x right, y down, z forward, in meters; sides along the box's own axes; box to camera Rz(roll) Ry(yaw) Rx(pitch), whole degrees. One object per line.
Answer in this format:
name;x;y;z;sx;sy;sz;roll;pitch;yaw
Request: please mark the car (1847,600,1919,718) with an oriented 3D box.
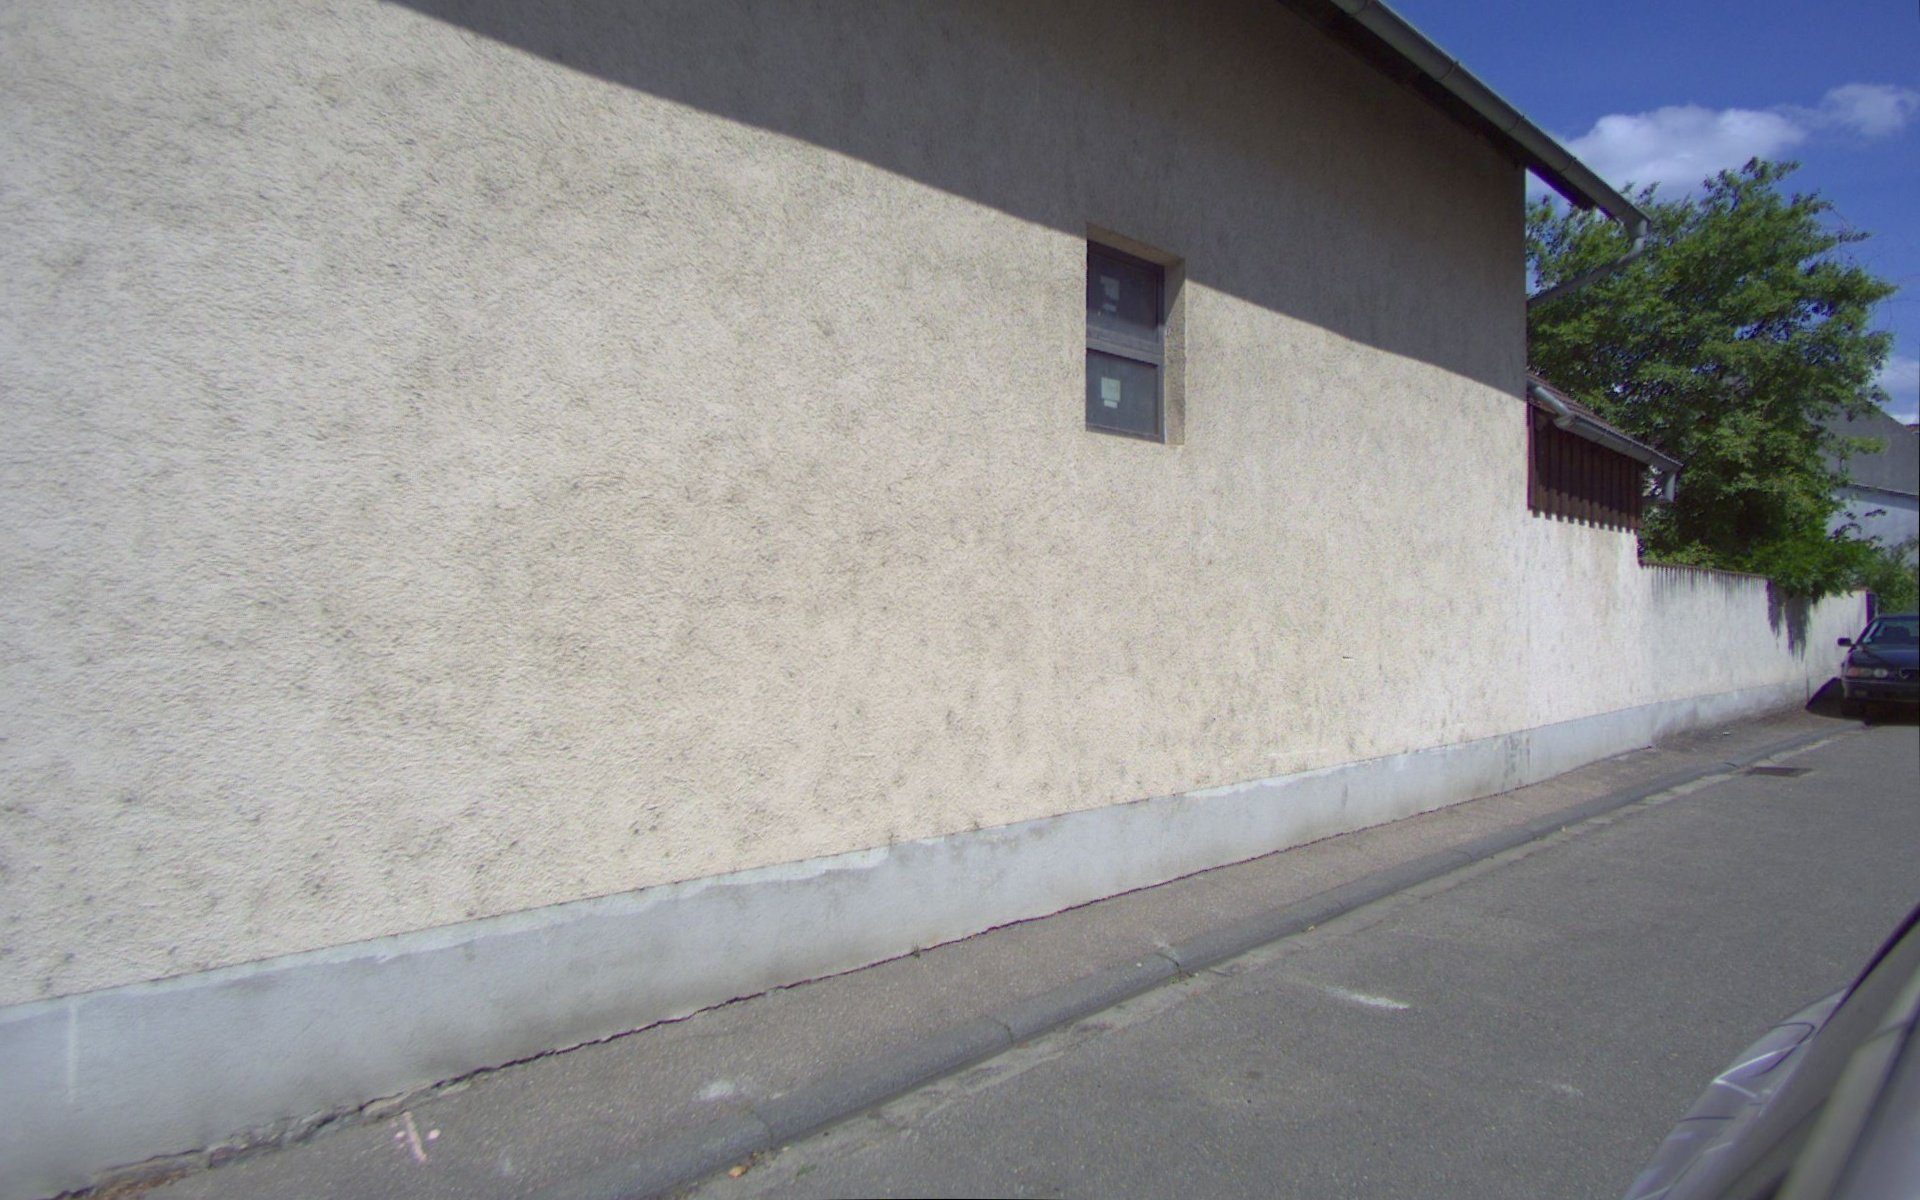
car;13.787;0.756;14.223;1.781;1.498;3.936;0;0;45
